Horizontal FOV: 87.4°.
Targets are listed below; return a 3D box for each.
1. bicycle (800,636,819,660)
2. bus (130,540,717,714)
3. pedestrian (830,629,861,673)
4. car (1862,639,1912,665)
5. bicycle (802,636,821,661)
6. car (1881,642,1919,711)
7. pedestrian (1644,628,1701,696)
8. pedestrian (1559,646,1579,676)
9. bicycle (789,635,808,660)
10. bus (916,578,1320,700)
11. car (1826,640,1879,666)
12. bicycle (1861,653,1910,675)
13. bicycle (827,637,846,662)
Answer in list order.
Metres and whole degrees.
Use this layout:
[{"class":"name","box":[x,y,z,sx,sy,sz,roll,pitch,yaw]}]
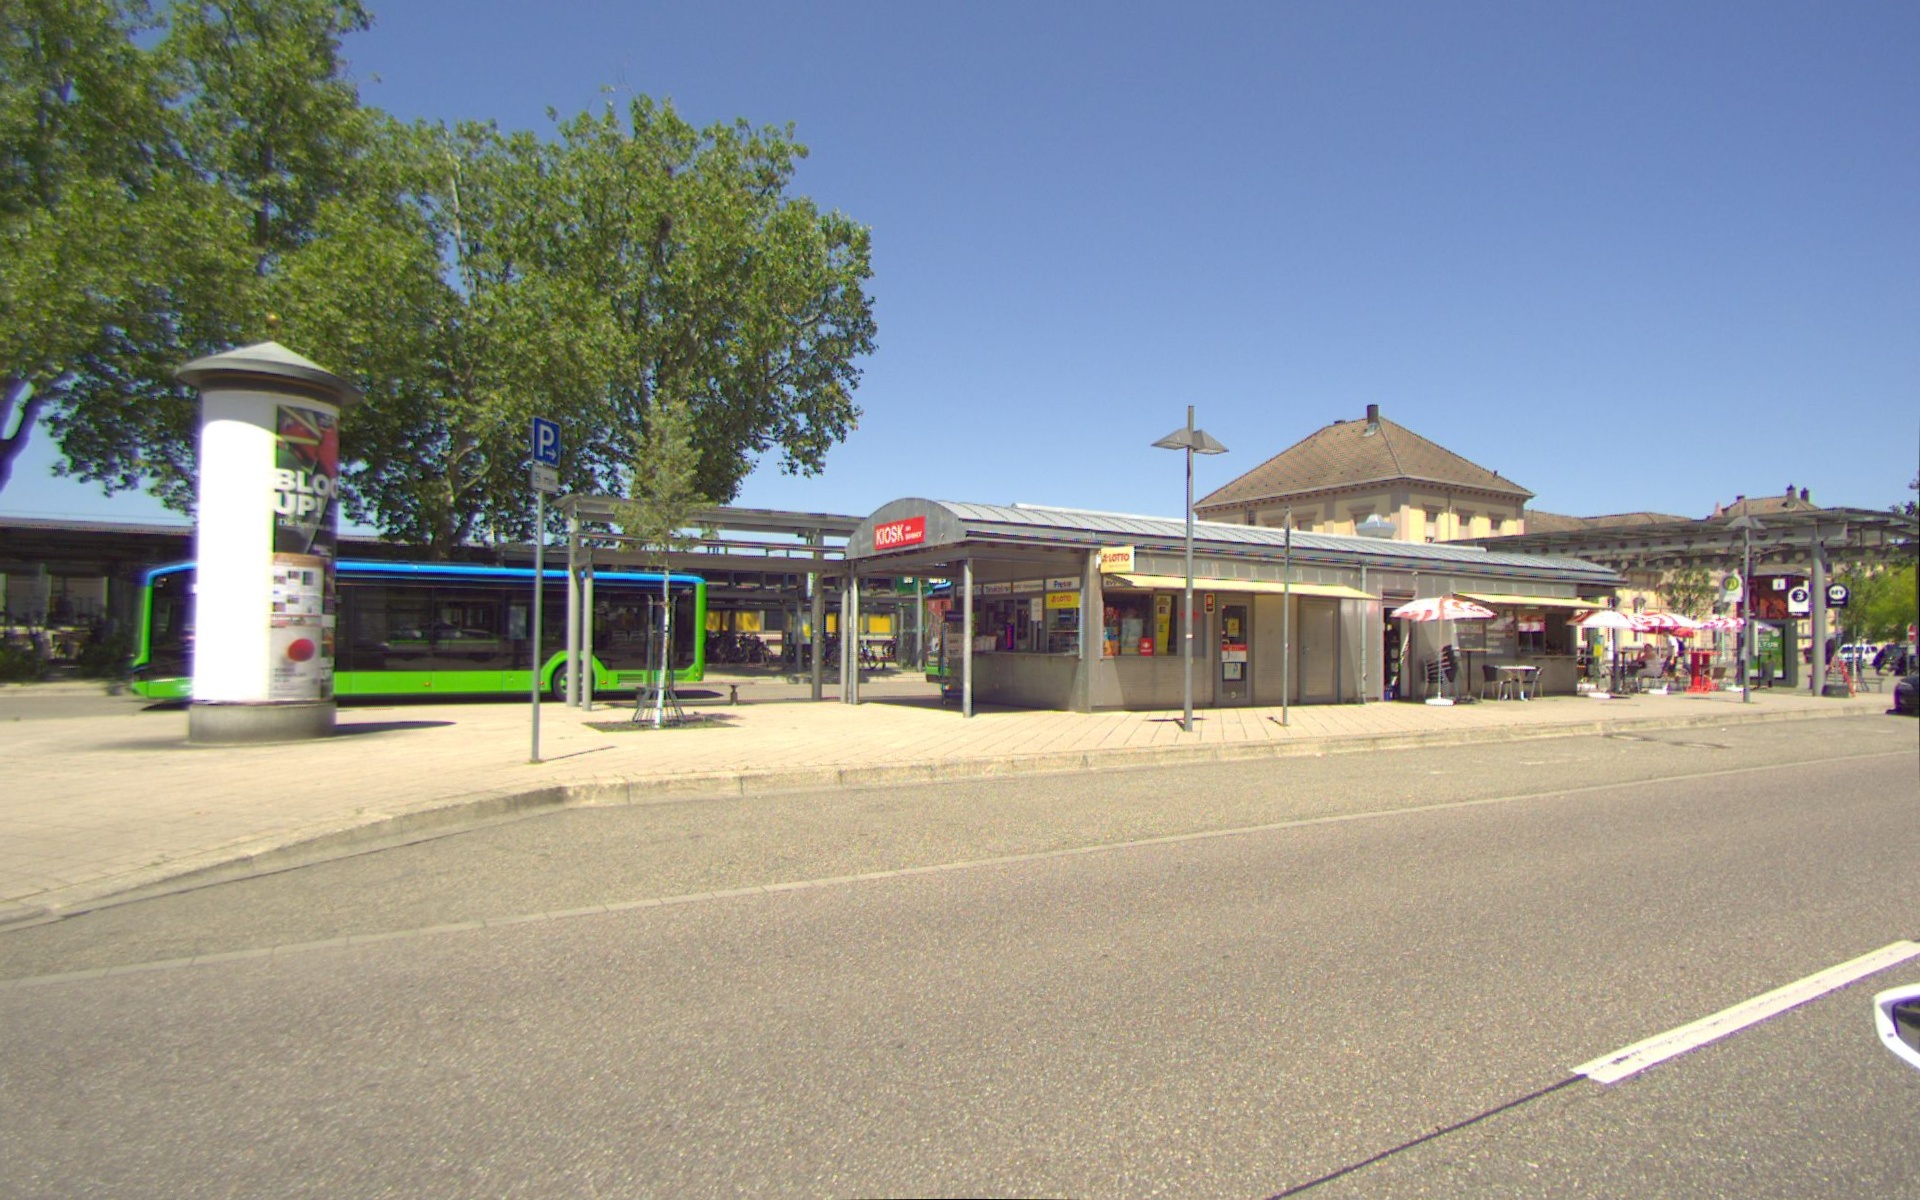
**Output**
[{"class":"bicycle","box":[-7.016,2.246,46.840,0.381,1.108,1.375,3,-3,-28]},{"class":"bus","box":[-12.208,0.731,24.505,12.075,3.572,2.153,2,-2,-29]},{"class":"pedestrian","box":[-4.318,1.924,37.770,0.809,1.638,0.765,0,-4,40]},{"class":"car","box":[74.044,4.140,80.200,3.956,2.040,1.983,2,-2,-33]},{"class":"bicycle","box":[-6.716,2.178,45.427,0.381,1.108,1.375,3,-3,-29]},{"class":"car","box":[22.847,1.717,22.767,4.733,1.498,1.709,2,-3,-32]},{"class":"pedestrian","box":[20.103,1.738,28.350,1.123,1.851,0.800,3,-3,-14]},{"class":"pedestrian","box":[20.016,2.007,33.030,0.366,0.985,0.424,3,-3,-17]},{"class":"bicycle","box":[-7.350,2.166,45.612,0.381,1.108,1.375,3,-3,-28]},{"class":"bus","box":[5.283,1.249,30.235,13.742,3.080,2.660,2,-3,-33]},{"class":"car","box":[68.229,4.030,76.770,4.721,1.942,1.742,2,-3,-31]},{"class":"bicycle","box":[47.341,3.264,51.390,1.770,1.044,0.487,0,-2,37]},{"class":"bicycle","box":[-5.679,2.256,46.165,0.381,1.108,1.375,3,-3,-28]}]
